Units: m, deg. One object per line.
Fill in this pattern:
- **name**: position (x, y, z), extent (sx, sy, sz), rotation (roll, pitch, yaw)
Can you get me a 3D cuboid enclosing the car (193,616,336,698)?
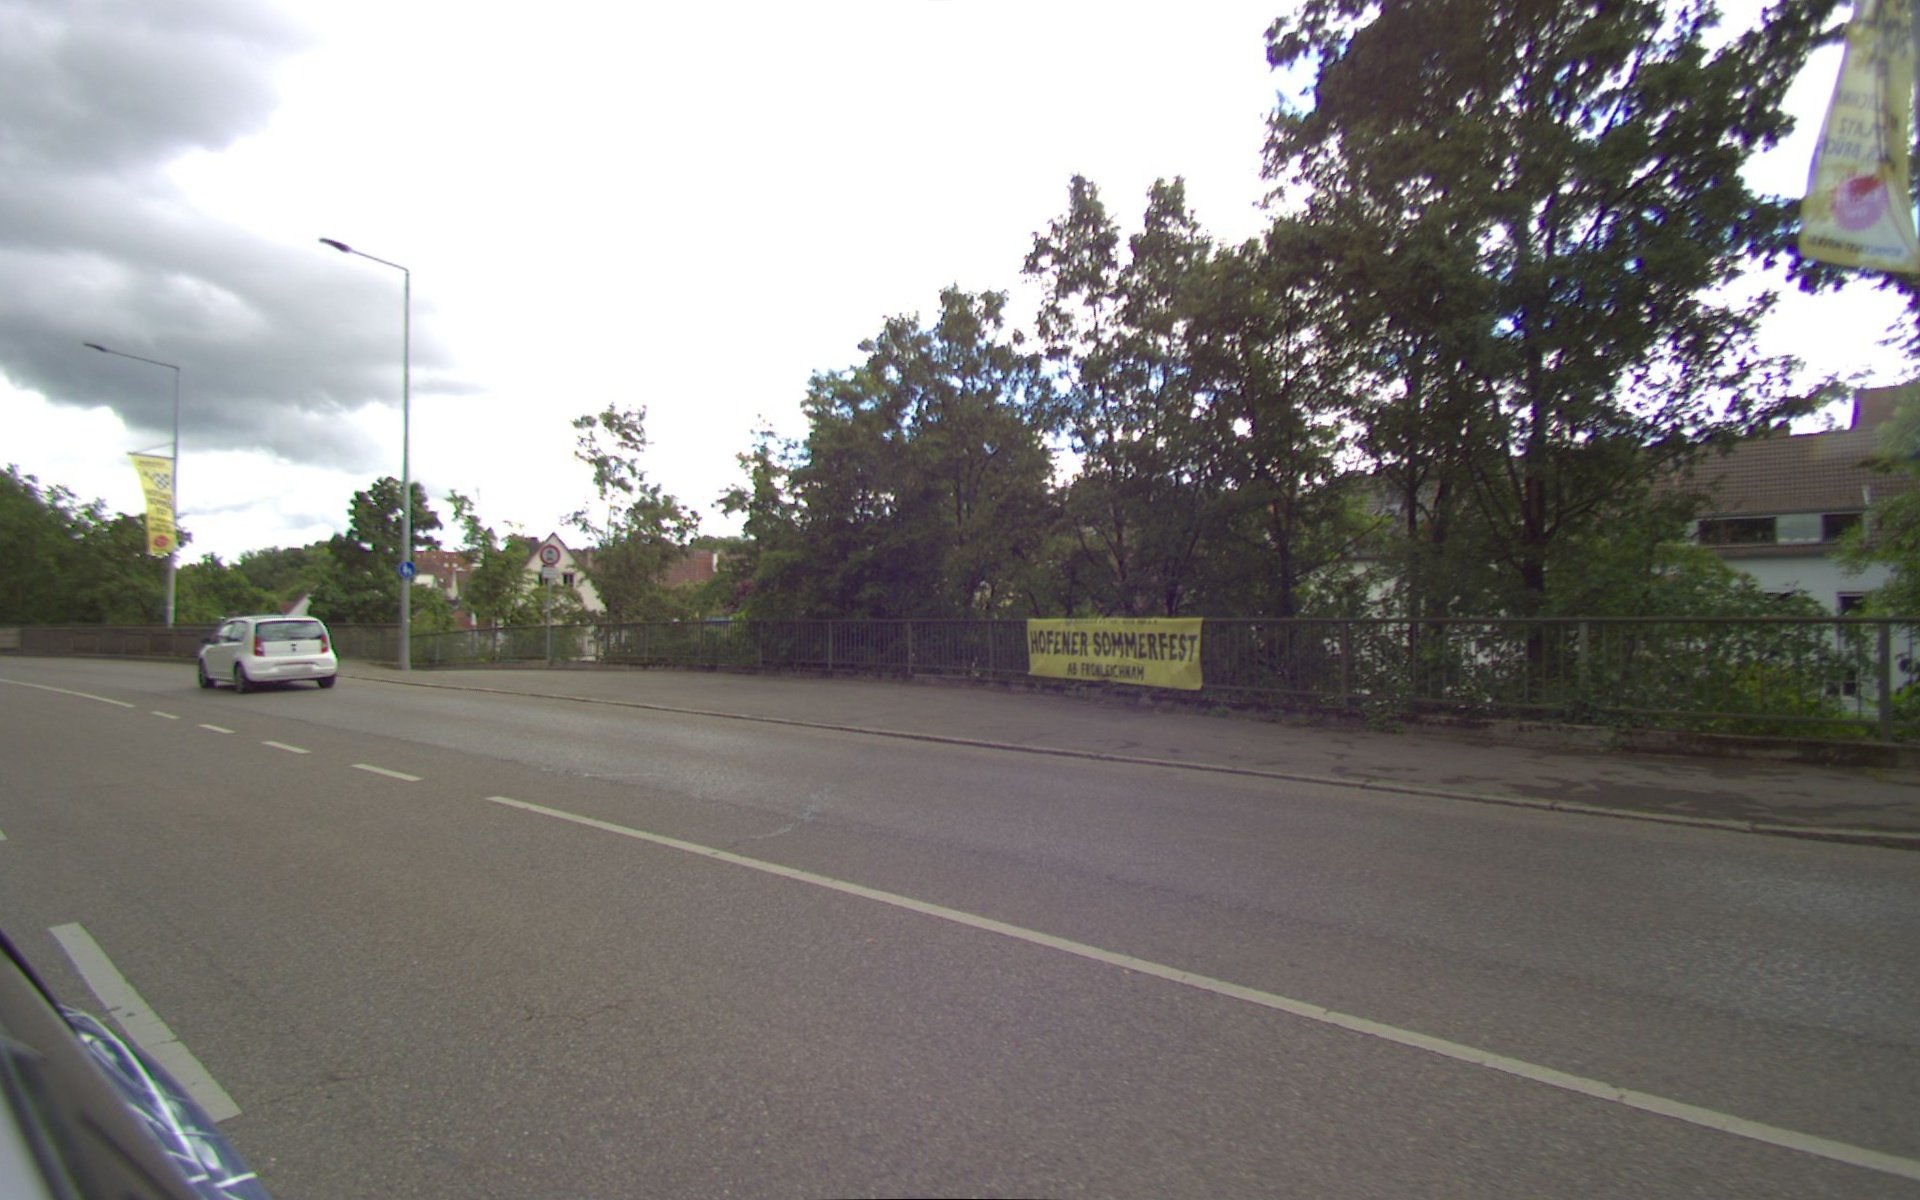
- **car**: position (-14.202, 1.104, 20.599), extent (3.695, 1.477, 1.564), rotation (-2, 0, 42)
